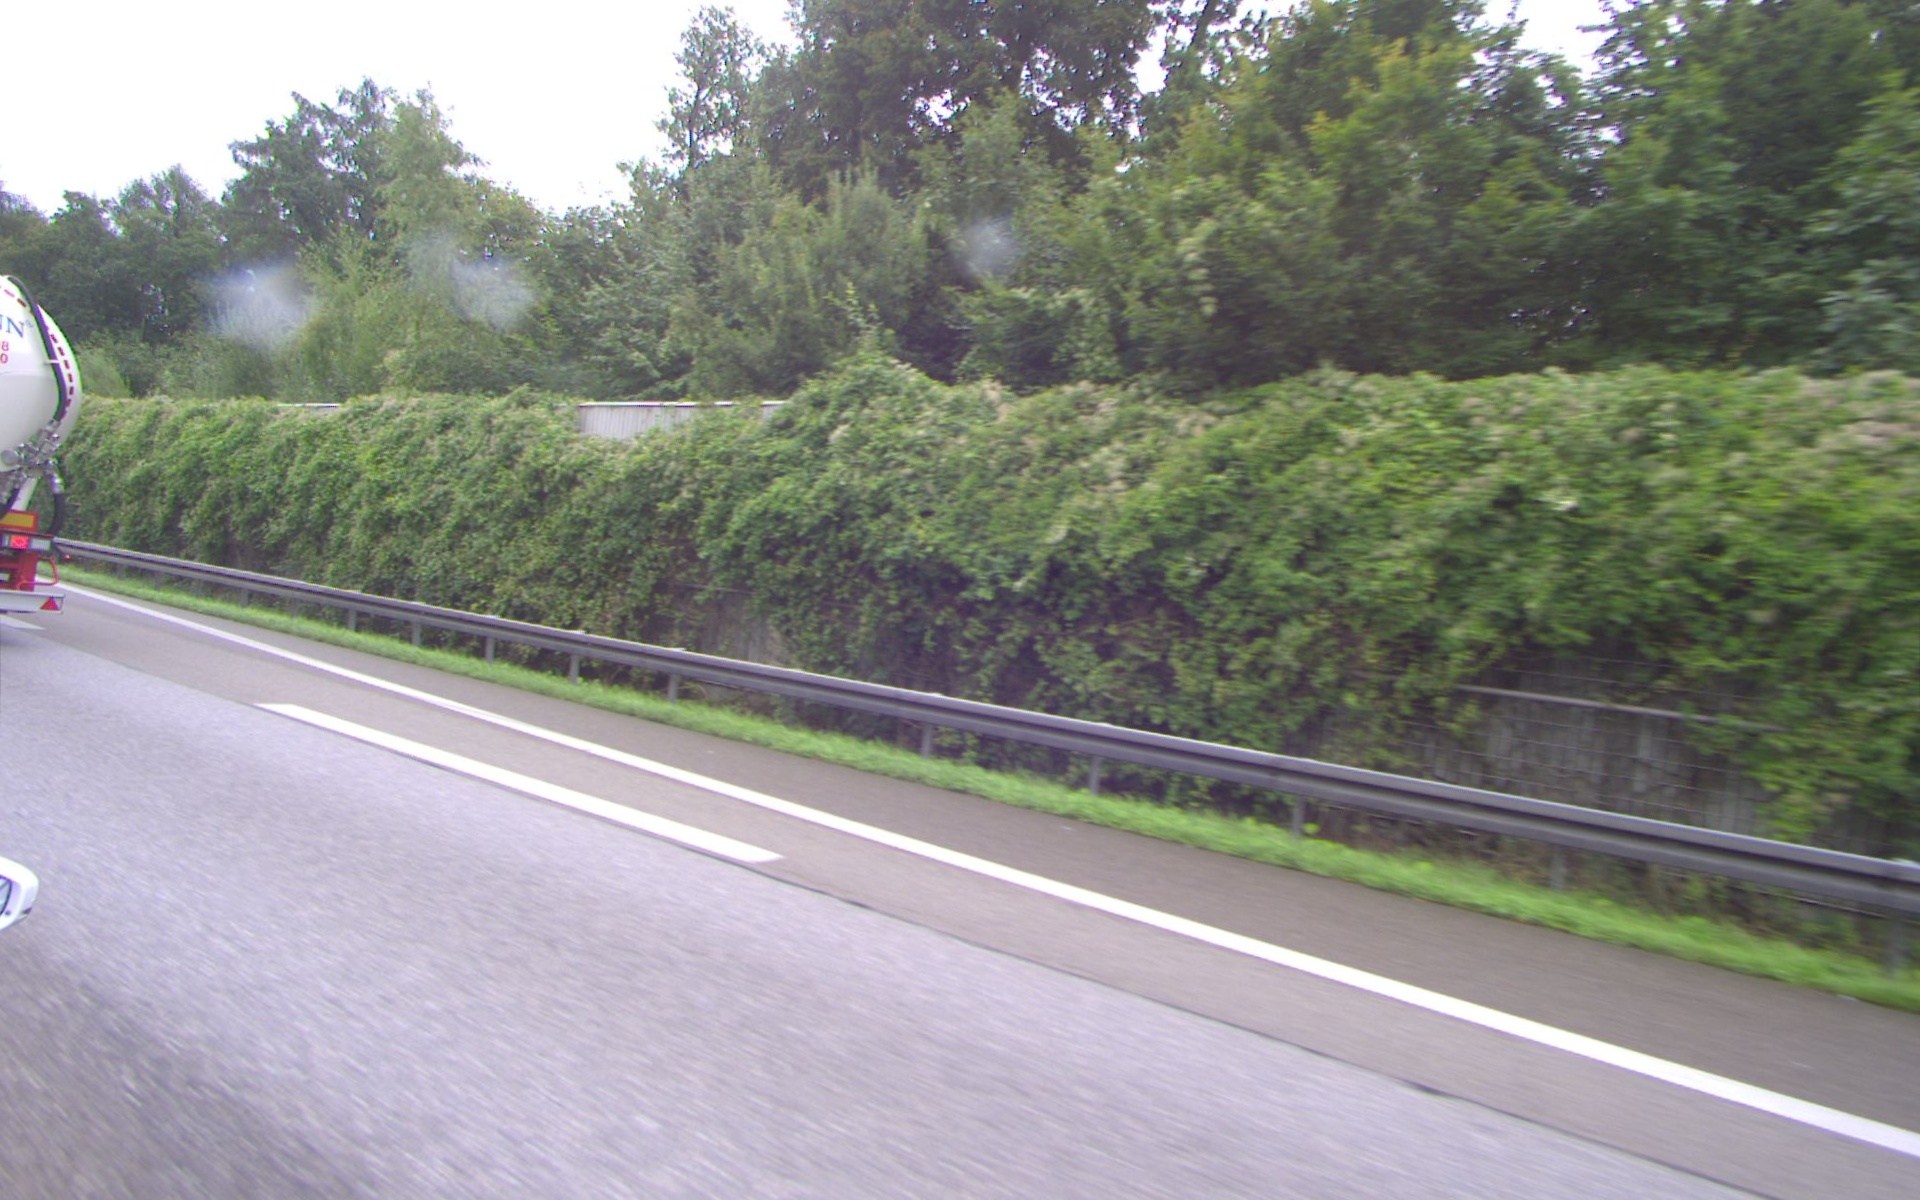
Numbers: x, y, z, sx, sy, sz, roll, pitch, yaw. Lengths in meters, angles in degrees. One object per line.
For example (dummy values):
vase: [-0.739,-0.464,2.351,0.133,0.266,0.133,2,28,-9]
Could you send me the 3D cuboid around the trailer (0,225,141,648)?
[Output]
trailer: [-14.926,-2.210,12.762,12.913,3.985,2.672,6,-1,32]
